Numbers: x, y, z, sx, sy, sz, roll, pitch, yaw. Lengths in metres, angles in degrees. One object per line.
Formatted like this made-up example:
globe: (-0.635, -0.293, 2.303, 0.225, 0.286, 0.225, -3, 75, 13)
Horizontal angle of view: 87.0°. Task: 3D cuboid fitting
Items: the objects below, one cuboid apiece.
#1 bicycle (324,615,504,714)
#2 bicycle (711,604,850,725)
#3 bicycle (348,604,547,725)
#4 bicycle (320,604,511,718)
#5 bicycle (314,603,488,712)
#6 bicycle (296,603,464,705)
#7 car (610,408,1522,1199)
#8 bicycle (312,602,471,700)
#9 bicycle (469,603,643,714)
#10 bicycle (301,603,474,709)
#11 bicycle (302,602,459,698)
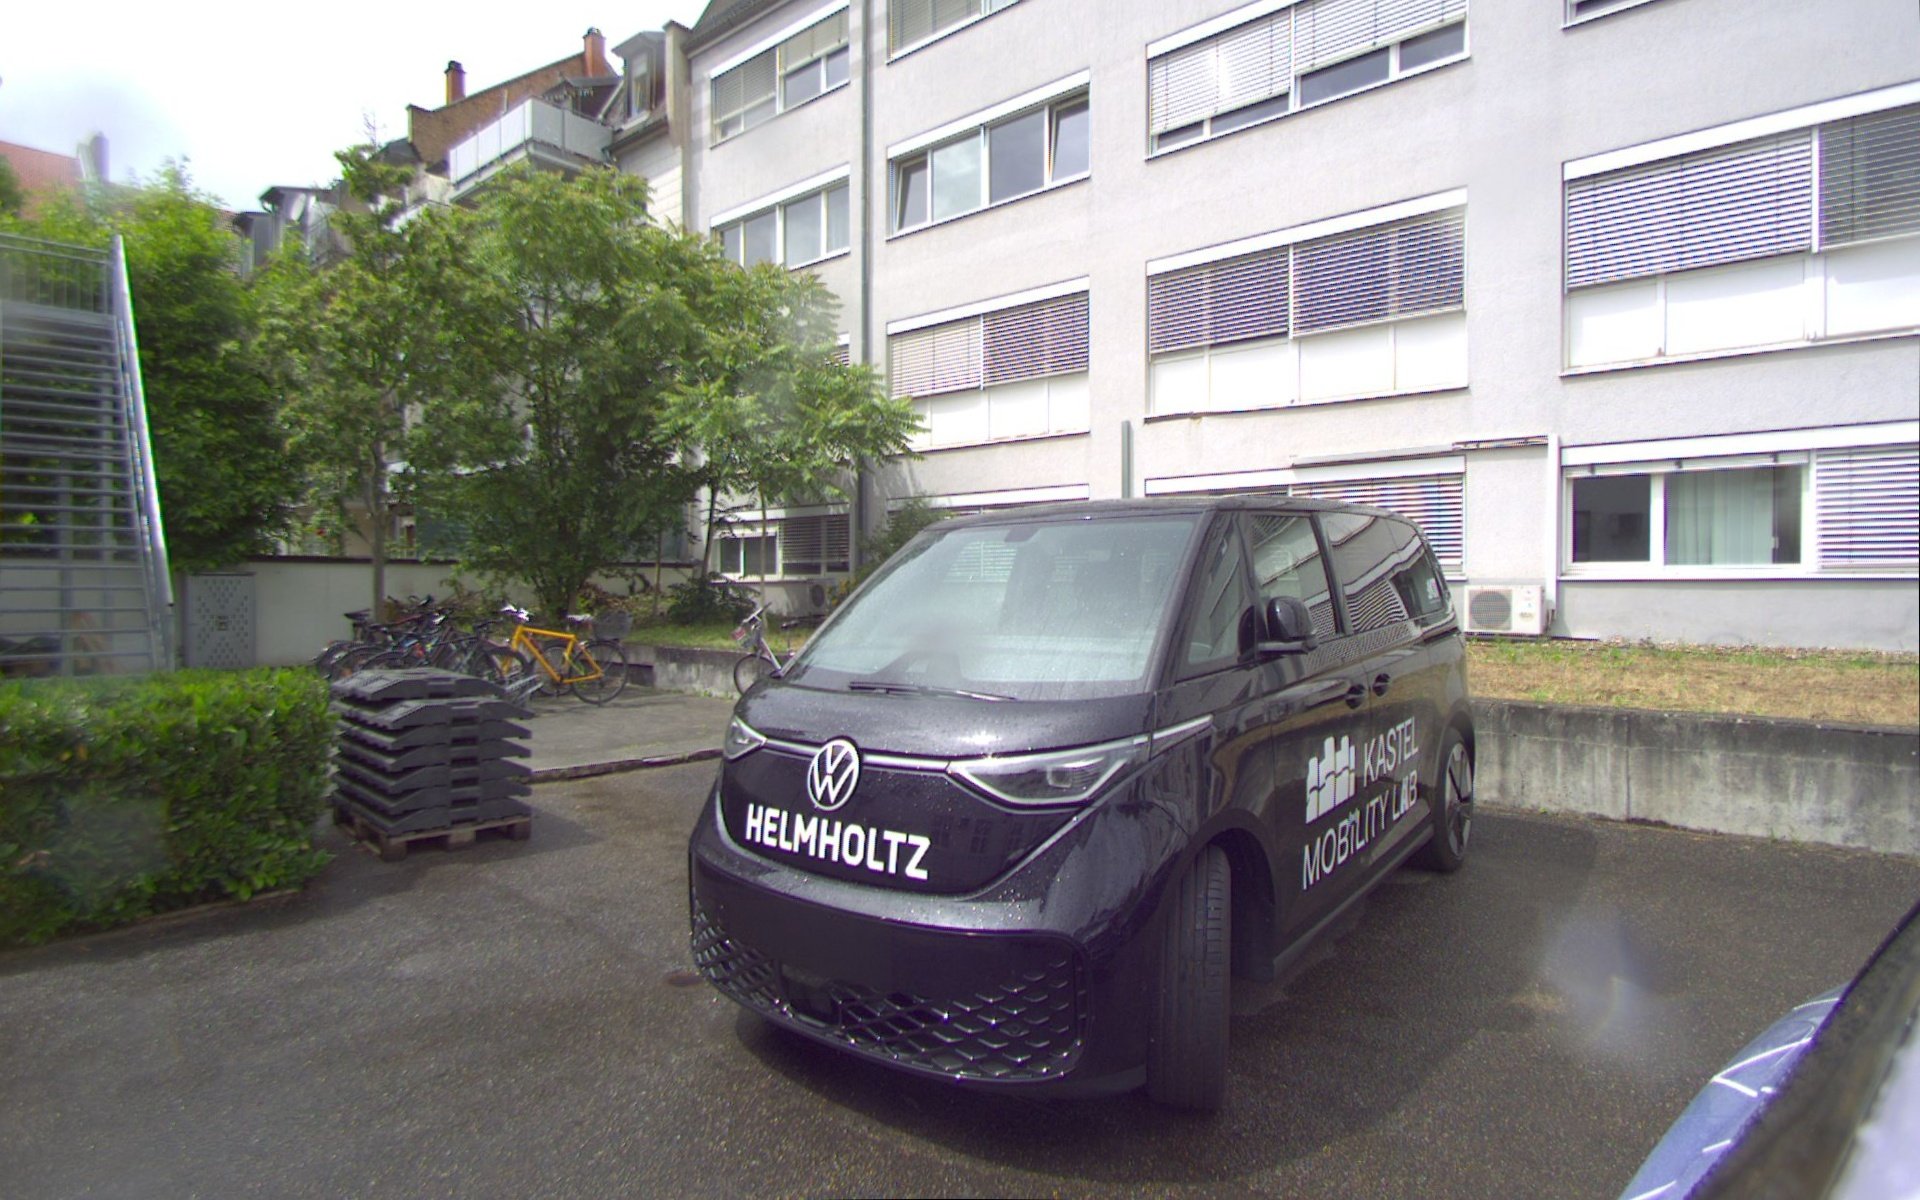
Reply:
bicycle: (-6.030, 0.679, 11.267, 0.328, 0.979, 1.771, 1, 1, 39)
bicycle: (-1.902, 0.627, 10.550, 1.791, 1.117, 0.440, 1, 3, 44)
bicycle: (-5.174, 0.613, 10.298, 1.766, 1.118, 0.405, 0, 1, -43)
bicycle: (-5.783, 0.612, 10.827, 1.766, 1.118, 0.354, 0, 1, -43)
bicycle: (-6.297, 0.610, 11.479, 0.331, 1.118, 1.730, 1, 1, 39)
bicycle: (-6.879, 0.607, 12.081, 0.344, 1.118, 1.730, 1, 1, 39)
car: (1.037, 0.457, 4.652, 1.960, 1.888, 4.683, 0, 2, 39)
bicycle: (-7.065, 0.603, 12.660, 0.353, 1.118, 1.730, 1, 1, 39)
bicycle: (-4.422, 0.607, 11.172, 1.766, 1.118, 0.366, 0, 1, -43)
bicycle: (-6.570, 0.610, 11.693, 0.341, 1.118, 1.730, 1, 1, 39)
bicycle: (-7.340, 0.603, 12.887, 0.340, 1.118, 1.730, 1, 1, 39)
